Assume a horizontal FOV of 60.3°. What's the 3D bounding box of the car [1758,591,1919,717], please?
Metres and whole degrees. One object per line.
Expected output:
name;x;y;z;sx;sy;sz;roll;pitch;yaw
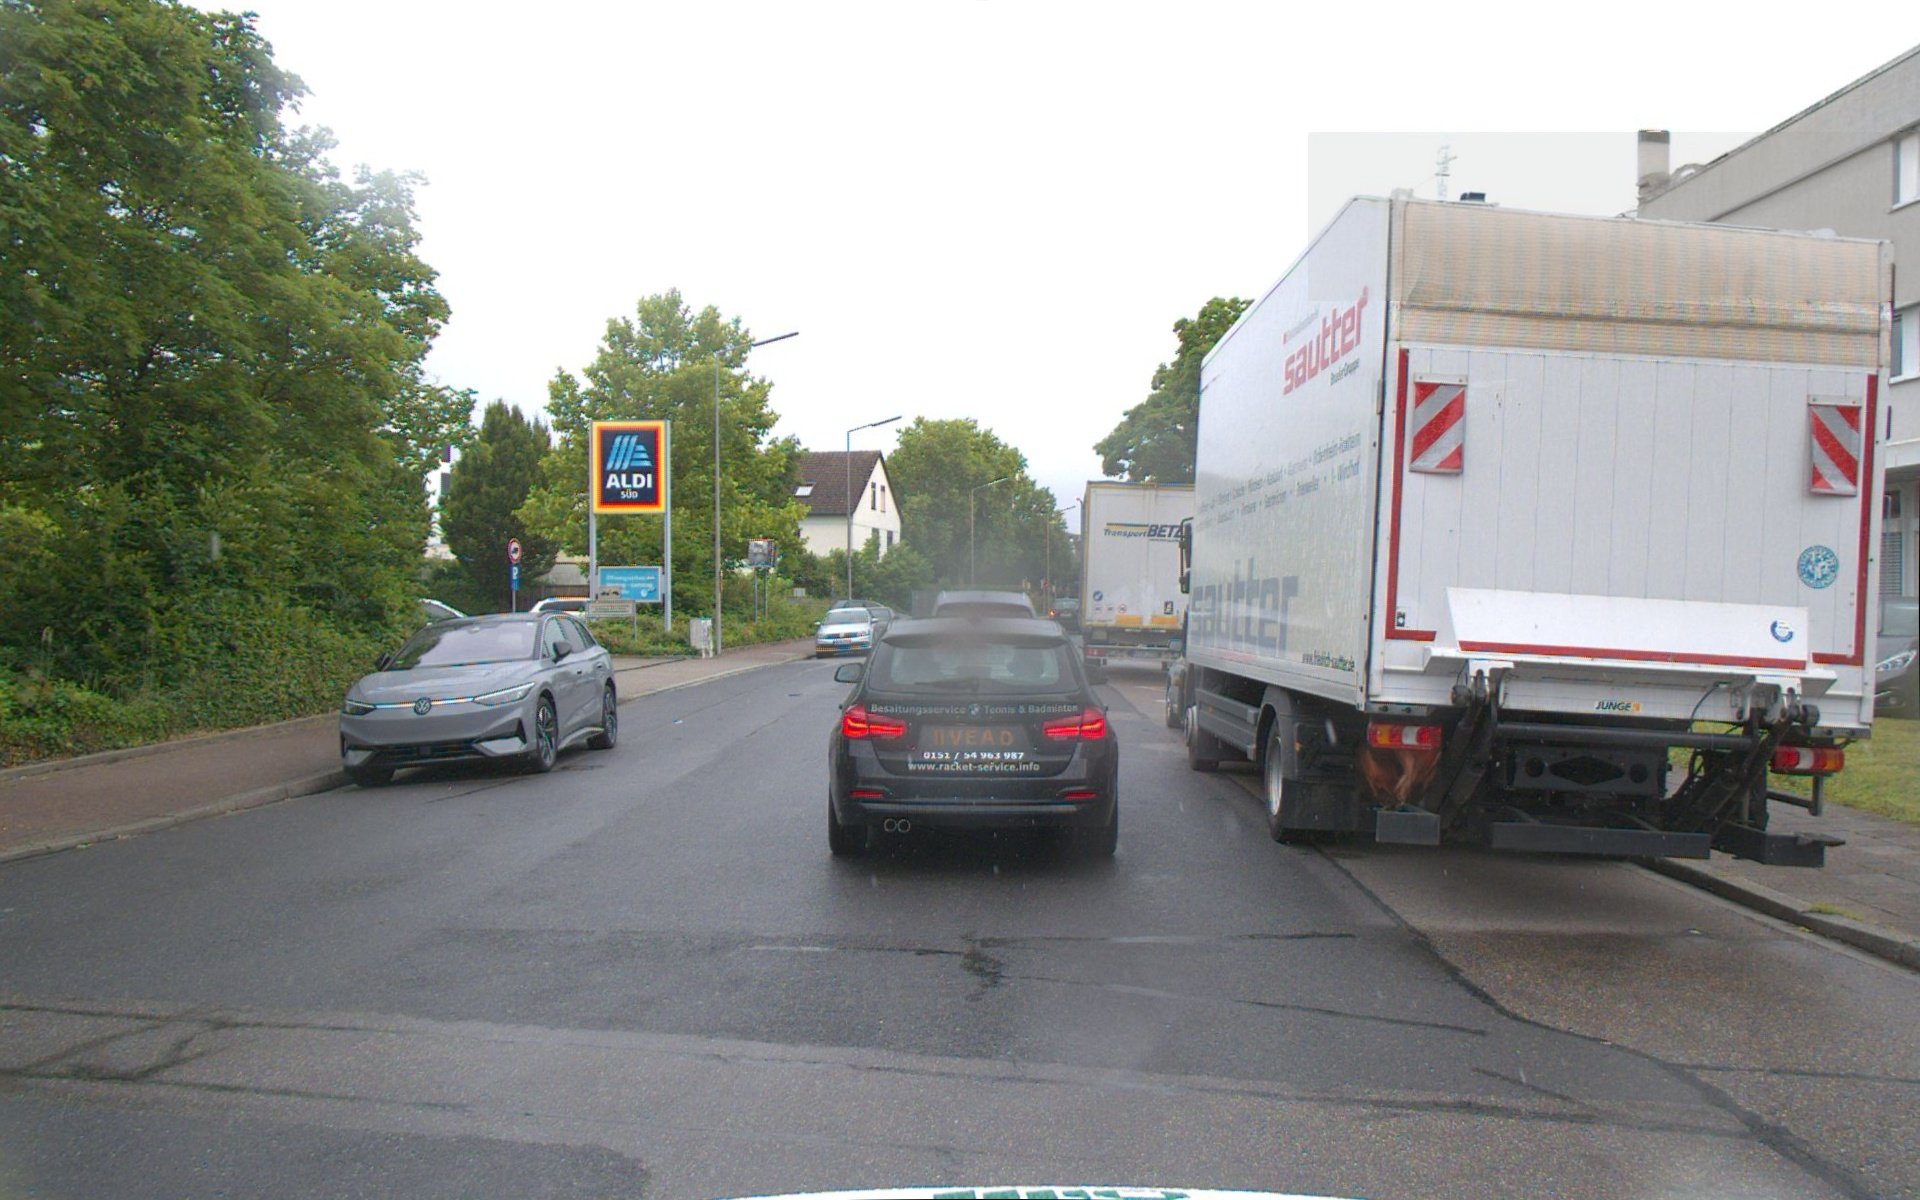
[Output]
car;11.401;0.600;20.422;1.678;1.417;3.740;0;0;45

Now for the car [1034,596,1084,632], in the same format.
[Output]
car;4.577;0.656;76.198;1.766;1.614;4.003;1;-1;11

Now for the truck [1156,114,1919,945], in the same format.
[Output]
truck;3.416;-0.333;12.553;2.685;3.855;9.299;2;0;0

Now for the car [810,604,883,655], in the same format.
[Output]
car;-3.383;0.860;50.126;1.670;1.391;4.602;-2;0;2

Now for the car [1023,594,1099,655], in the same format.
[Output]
car;2.932;0.724;48.906;1.953;1.713;3.999;1;-1;-1

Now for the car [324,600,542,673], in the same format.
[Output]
car;-11.225;0.763;35.440;4.106;1.485;1.711;1;0;-3

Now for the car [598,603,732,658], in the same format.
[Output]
car;-8.514;0.870;47.925;3.495;1.485;1.713;2;0;2

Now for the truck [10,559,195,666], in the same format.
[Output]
truck;-24.099;0.338;46.830;1.953;2.801;6.466;0;0;-1

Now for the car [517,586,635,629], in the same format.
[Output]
car;-14.269;0.279;61.628;3.904;1.567;1.911;0;0;1

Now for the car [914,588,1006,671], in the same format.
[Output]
car;-0.050;0.595;34.354;1.768;1.614;3.999;1;-1;-2

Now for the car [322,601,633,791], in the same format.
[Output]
car;-4.747;0.865;17.038;1.772;1.555;4.747;-4;0;-1

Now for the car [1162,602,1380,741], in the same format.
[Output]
car;3.566;0.758;19.725;1.760;1.466;4.344;0;0;0

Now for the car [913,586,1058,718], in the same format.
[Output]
car;0.259;0.657;22.431;1.768;1.614;3.998;1;-1;-2

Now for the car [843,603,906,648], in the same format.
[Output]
car;-2.871;0.845;56.108;1.670;1.391;3.840;-2;0;3

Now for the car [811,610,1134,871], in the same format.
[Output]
car;0.014;0.793;11.114;1.768;1.419;3.998;1;-1;-2

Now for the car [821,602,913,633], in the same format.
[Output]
car;-4.227;0.783;75.463;4.100;1.386;1.589;0;0;1

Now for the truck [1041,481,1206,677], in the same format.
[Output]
truck;3.343;-0.398;35.859;2.685;3.674;7.749;2;0;0
